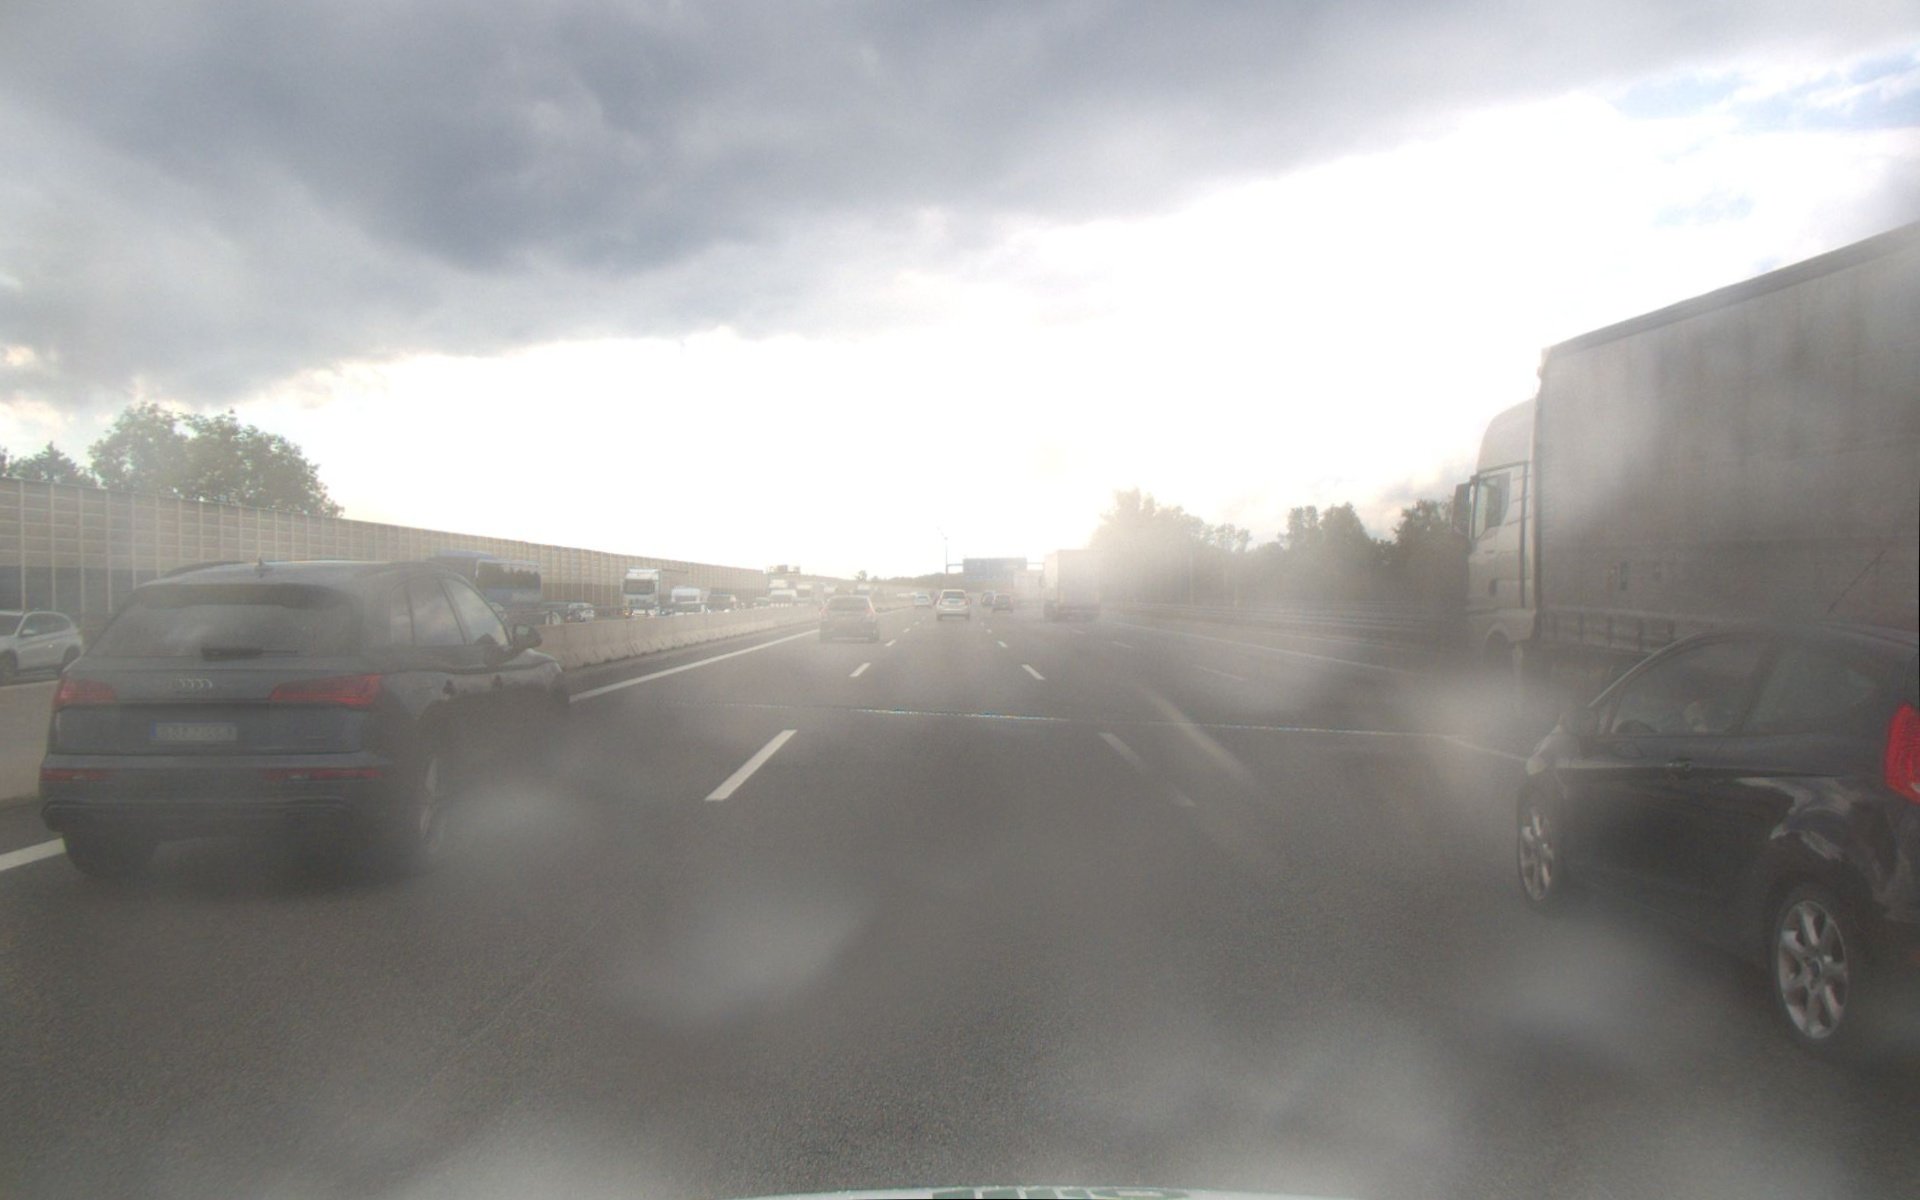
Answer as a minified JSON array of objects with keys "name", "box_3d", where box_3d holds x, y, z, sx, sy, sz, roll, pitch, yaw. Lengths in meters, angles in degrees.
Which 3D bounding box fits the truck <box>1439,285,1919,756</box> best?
[{"name":"truck","box_3d":[7.586,-0.734,17.690,2.901,4.090,6.588,0,1,-1]}]

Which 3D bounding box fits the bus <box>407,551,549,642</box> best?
[{"name":"bus","box_3d":[-21.955,-0.197,76.195,3.029,3.824,11.881,-1,1,0]}]

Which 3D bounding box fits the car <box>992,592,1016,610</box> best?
[{"name":"car","box_3d":[3.653,0.073,139.239,1.798,1.466,4.054,0,1,-2]}]

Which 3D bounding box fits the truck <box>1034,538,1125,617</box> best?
[{"name":"truck","box_3d":[6.959,-1.321,98.828,4.096,4.363,12.609,1,1,-2]}]

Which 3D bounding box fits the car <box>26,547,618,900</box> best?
[{"name":"car","box_3d":[-3.661,0.576,10.702,1.869,1.720,5.168,0,1,-1]}]

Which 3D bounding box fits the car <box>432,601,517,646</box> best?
[{"name":"car","box_3d":[-17.960,0.845,61.420,1.712,1.552,4.927,-1,1,0]}]

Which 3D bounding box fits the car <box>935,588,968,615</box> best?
[{"name":"car","box_3d":[-0.492,0.072,96.335,1.737,1.466,4.053,0,1,-3]}]

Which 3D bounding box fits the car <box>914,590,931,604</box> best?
[{"name":"car","box_3d":[-4.032,-0.331,177.734,1.737,1.466,3.872,0,1,-3]}]

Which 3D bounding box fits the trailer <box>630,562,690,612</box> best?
[{"name":"trailer","box_3d":[-25.310,-1.102,140.334,2.510,4.003,13.816,1,1,0]}]

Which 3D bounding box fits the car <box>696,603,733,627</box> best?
[{"name":"car","box_3d":[-18.294,1.090,123.624,2.036,1.688,4.801,-1,0,0]}]

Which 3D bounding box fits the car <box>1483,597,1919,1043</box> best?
[{"name":"car","box_3d":[3.492,0.736,7.146,1.417,1.466,3.163,0,1,-1]}]

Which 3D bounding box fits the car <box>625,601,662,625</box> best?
[{"name":"car","box_3d":[-21.879,0.881,114.473,1.712,1.552,4.177,-1,0,0]}]

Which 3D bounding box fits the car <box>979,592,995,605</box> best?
[{"name":"car","box_3d":[3.218,-0.220,198.654,1.798,1.466,4.054,0,1,-2]}]

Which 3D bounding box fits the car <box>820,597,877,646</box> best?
[{"name":"car","box_3d":[-3.490,0.649,52.300,1.725,1.393,5.057,0,1,-3]}]

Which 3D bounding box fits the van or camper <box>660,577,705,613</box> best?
[{"name":"van or camper","box_3d":[-21.812,-0.415,130.410,2.296,2.687,7.149,-1,0,0]}]

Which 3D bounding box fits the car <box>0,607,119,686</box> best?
[{"name":"car","box_3d":[-21.110,1.029,37.736,1.712,1.639,4.177,-1,0,0]}]

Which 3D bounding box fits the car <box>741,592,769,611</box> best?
[{"name":"car","box_3d":[-18.372,0.117,148.479,1.884,1.627,5.096,-1,1,0]}]

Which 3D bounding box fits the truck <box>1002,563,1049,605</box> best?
[{"name":"truck","box_3d":[6.900,-1.661,175.594,4.158,4.249,11.986,1,1,-1]}]

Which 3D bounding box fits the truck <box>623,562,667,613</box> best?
[{"name":"truck","box_3d":[-25.316,-1.030,133.082,2.524,4.003,5.177,1,0,0]}]

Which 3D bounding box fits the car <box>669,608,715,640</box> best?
[{"name":"car","box_3d":[-14.266,1.264,88.199,1.712,1.552,4.177,-1,0,0]}]

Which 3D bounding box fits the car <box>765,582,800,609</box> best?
[{"name":"car","box_3d":[-14.386,-0.392,134.409,2.115,2.107,6.014,-1,0,0]}]

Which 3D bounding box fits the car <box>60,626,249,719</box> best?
[{"name":"car","box_3d":[-14.018,1.223,28.984,1.539,1.418,3.575,-1,0,0]}]

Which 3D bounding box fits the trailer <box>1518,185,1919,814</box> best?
[{"name":"trailer","box_3d":[7.690,-0.656,11.117,2.901,4.090,14.116,0,1,-1]}]
